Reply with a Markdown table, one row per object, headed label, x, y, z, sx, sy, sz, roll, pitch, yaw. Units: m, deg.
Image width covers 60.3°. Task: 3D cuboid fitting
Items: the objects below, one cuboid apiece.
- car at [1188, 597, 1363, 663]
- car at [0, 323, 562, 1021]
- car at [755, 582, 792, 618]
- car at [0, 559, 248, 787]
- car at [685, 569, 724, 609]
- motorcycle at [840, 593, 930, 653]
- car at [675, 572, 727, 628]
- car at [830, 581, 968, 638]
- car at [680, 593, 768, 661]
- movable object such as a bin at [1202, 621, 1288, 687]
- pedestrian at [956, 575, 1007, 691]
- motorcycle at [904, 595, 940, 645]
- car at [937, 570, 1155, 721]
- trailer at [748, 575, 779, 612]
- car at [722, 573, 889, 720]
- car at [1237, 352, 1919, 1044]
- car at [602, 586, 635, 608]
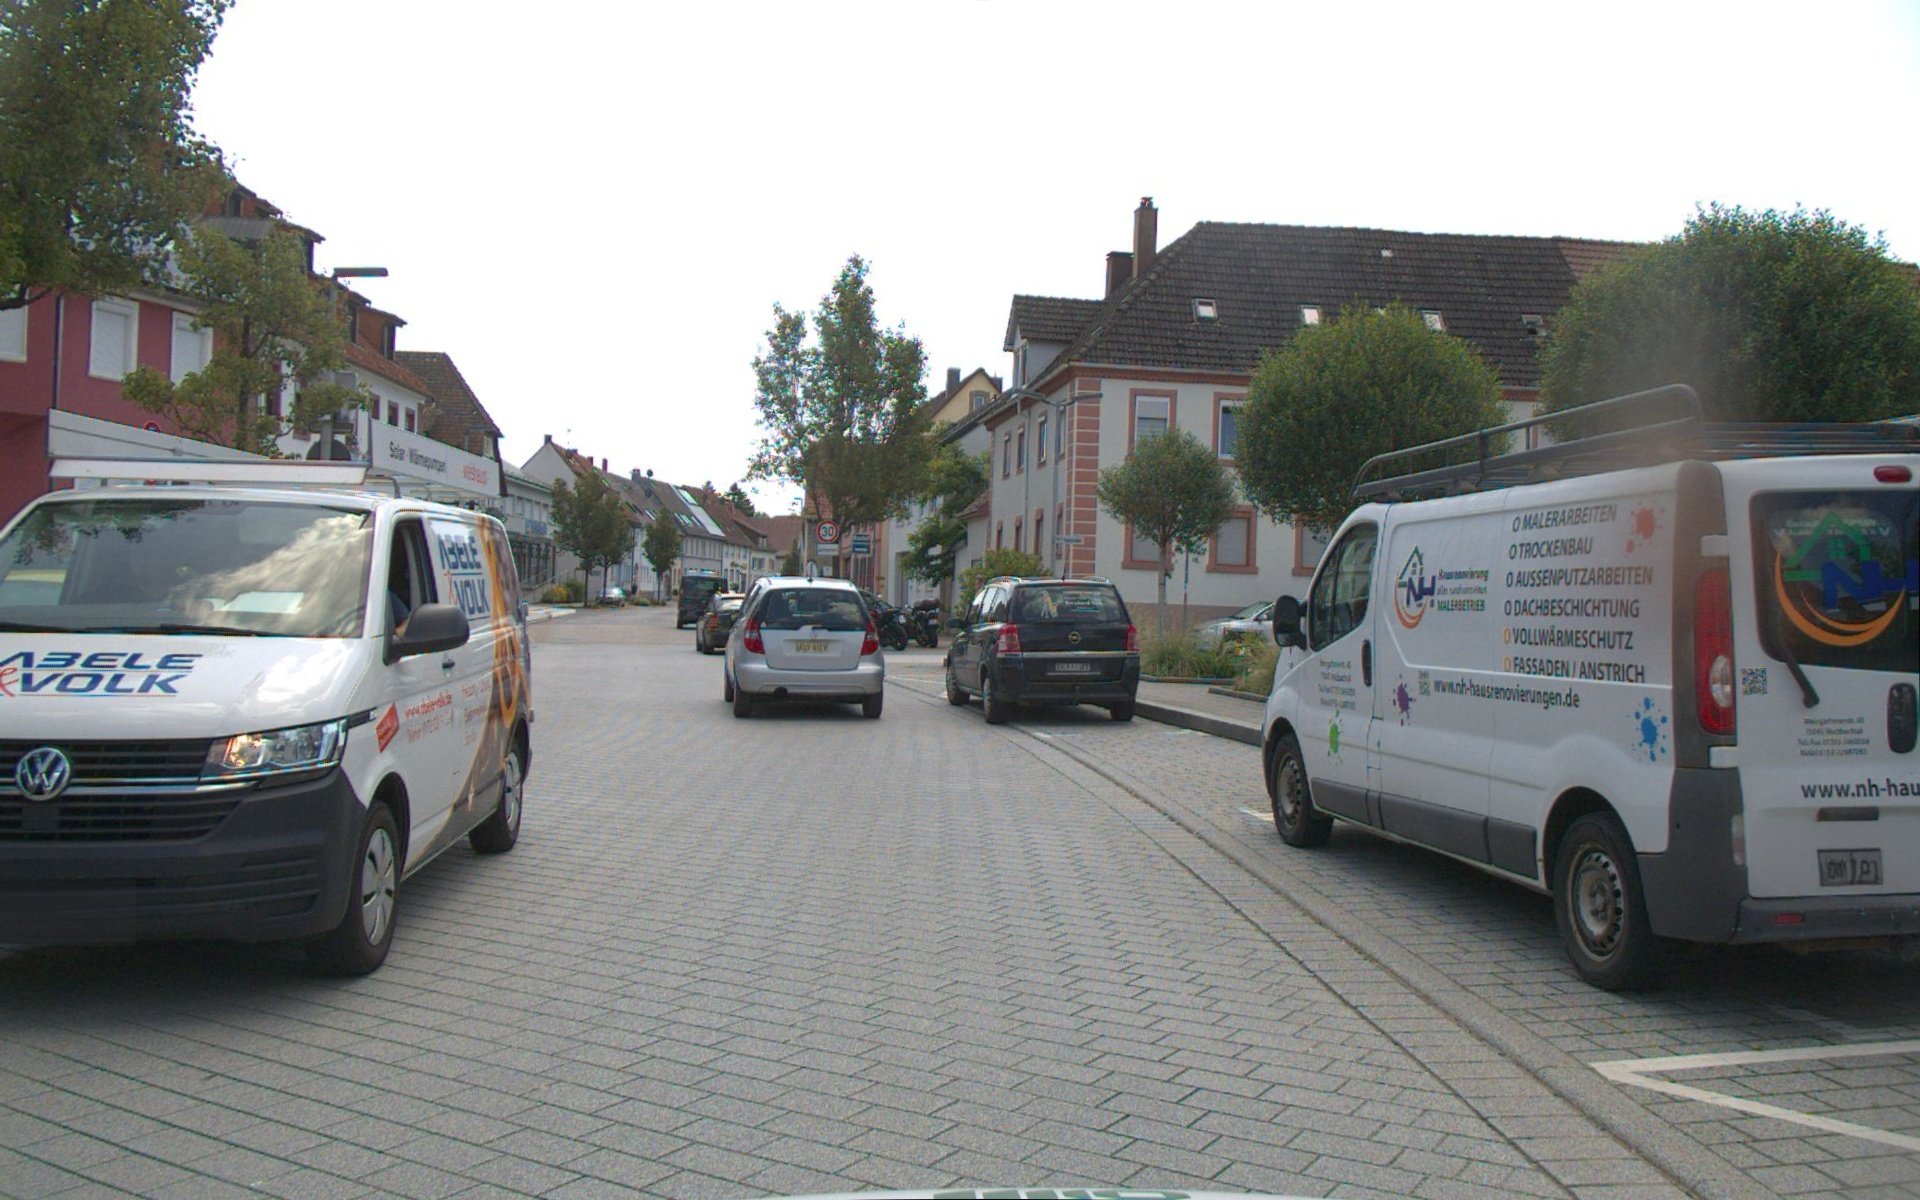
| label | x | y | z | sx | sy | sz | roll | pitch | yaw |
| --- | --- | --- | --- | --- | --- | --- | --- | --- | --- |
| car | 7.756 | 0.721 | 40.871 | 3.914 | 1.499 | 1.824 | 1 | 0 | -4 |
| car | -3.220 | 0.220 | 7.776 | 1.851 | 2.224 | 5.025 | 1 | 0 | -5 |
| car | -10.712 | -0.026 | 94.836 | 1.857 | 2.017 | 4.921 | -1 | 0 | -9 |
| car | -7.012 | 0.456 | 12.826 | 1.636 | 1.500 | 3.957 | 1 | 0 | -7 |
| car | -15.236 | -0.621 | 98.769 | 2.194 | 2.261 | 3.992 | 1 | -1 | -8 |
| motorcycle | -1.934 | 0.575 | 42.323 | 2.180 | 1.419 | 0.870 | 2 | 1 | 34 |
| car | -9.773 | 0.004 | 62.557 | 1.736 | 1.920 | 4.439 | 4 | -1 | -8 |
| car | -1.809 | 0.265 | 48.453 | 3.781 | 1.605 | 1.845 | 0 | 0 | -13 |
| car | -5.562 | 0.597 | 38.977 | 1.909 | 1.432 | 3.993 | 2 | 0 | -8 |
| movable object such as a bin | 4.114 | 0.765 | 23.969 | 0.722 | 0.881 | 1.432 | 2 | 0 | -12 |
| pedestrian | 0.309 | 0.477 | 24.057 | 0.626 | 1.657 | 0.619 | 1 | 0 | -7 |
| motorcycle | -1.024 | 0.531 | 44.689 | 0.940 | 1.321 | 2.225 | 0 | 0 | -2 |
| car | 0.908 | 0.484 | 19.963 | 1.736 | 1.592 | 4.409 | 1 | 0 | -9 |
| trailer | -13.039 | -0.417 | 109.478 | 1.811 | 2.395 | 3.581 | 1 | 0 | -10 |
| car | -2.001 | 0.504 | 20.447 | 1.737 | 1.622 | 3.991 | 1 | 0 | -10 |
| car | 3.049 | 0.292 | 7.964 | 1.906 | 2.215 | 5.091 | 0 | 0 | -9 |
| car | -24.783 | -0.211 | 120.121 | 1.769 | 1.486 | 4.155 | 2 | 0 | -4 |
